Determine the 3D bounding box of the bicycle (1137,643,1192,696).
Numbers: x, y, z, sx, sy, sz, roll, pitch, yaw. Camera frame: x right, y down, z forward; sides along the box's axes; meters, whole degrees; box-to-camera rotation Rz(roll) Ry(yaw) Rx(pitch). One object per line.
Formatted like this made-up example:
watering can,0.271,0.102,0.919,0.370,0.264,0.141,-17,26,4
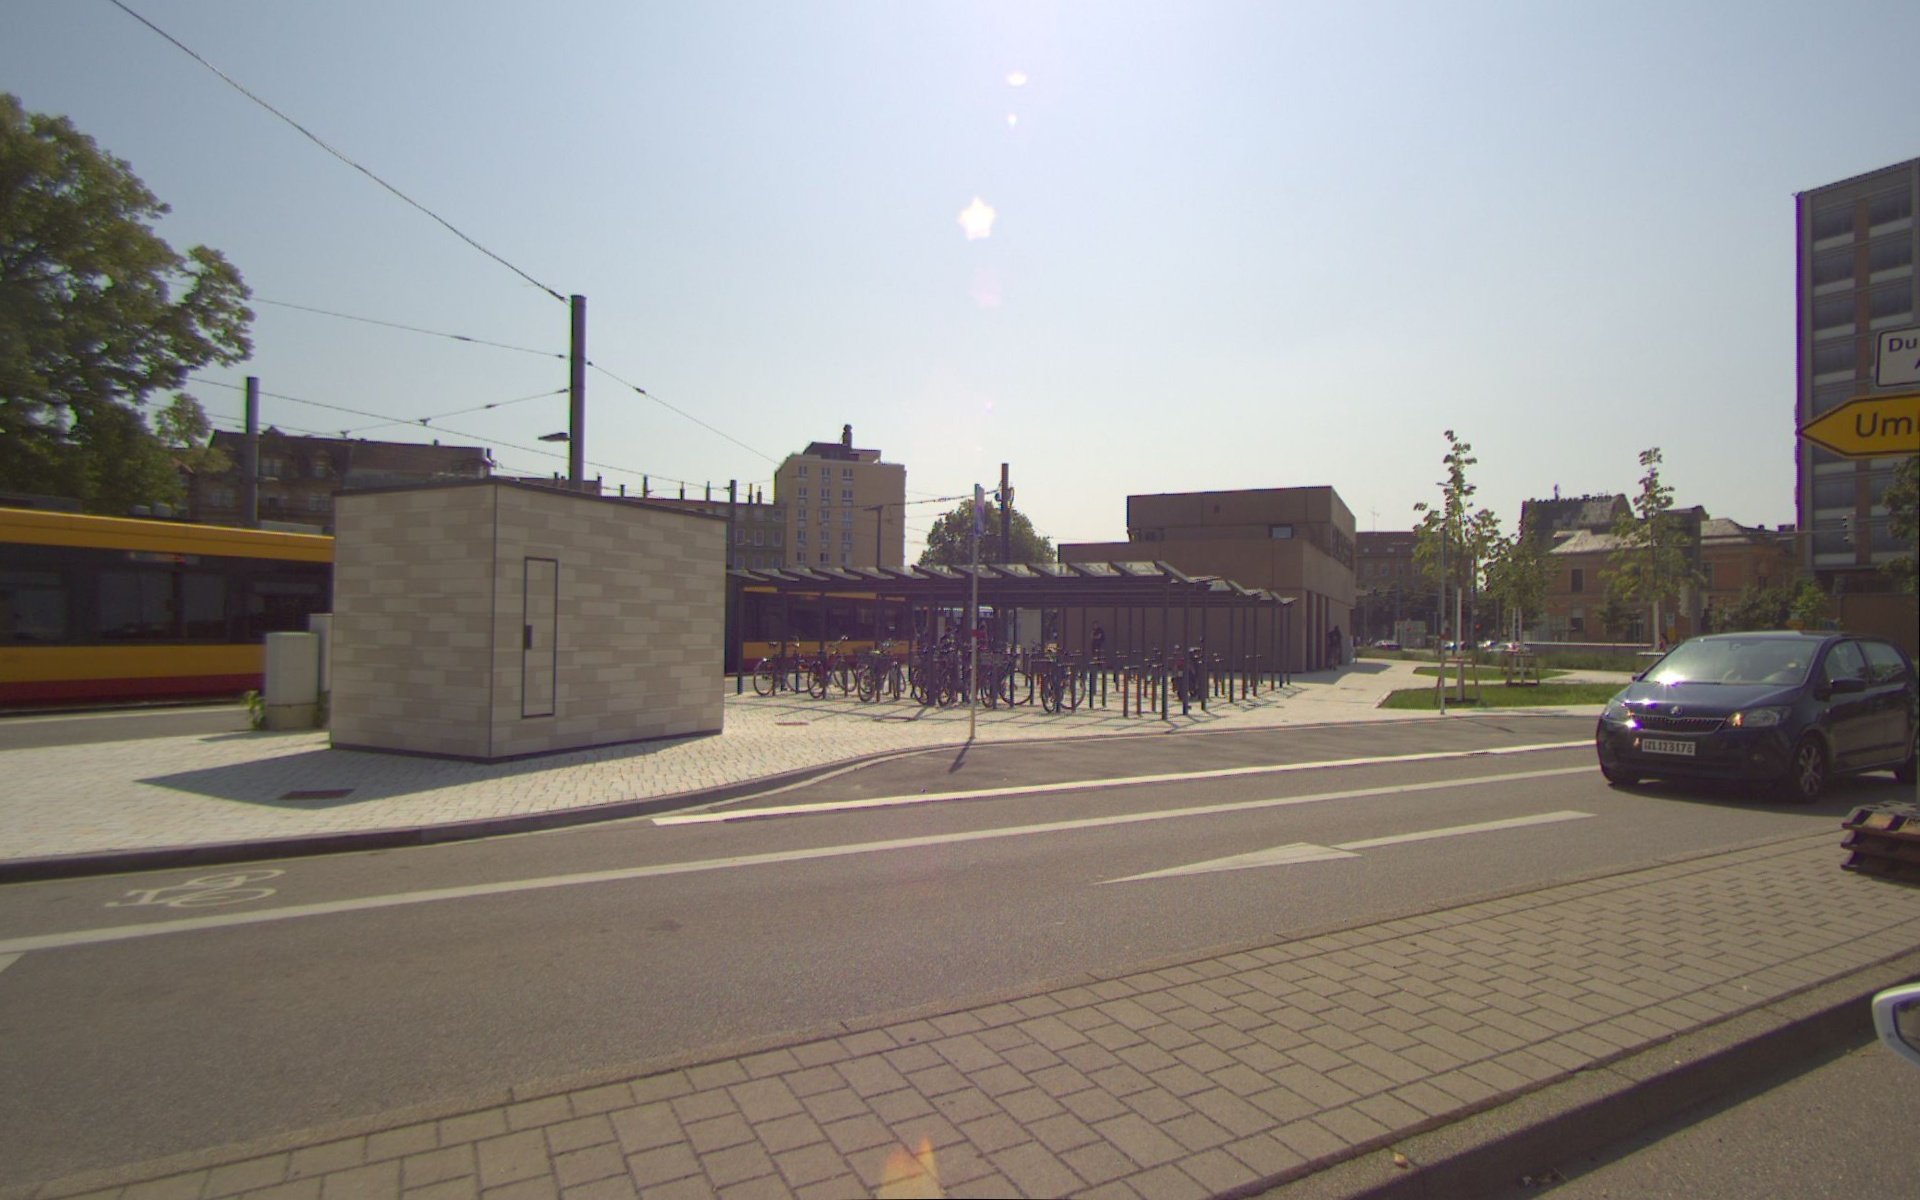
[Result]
bicycle,5.037,1.677,24.660,0.596,1.226,1.804,0,-2,37

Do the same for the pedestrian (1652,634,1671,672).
pedestrian,29.177,2.216,41.771,0.520,1.573,0.417,0,-2,16

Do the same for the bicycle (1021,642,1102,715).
bicycle,1.838,1.371,18.005,0.596,1.226,1.804,0,-2,37

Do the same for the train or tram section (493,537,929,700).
train or tram section,-6.835,0.755,34.589,2.842,4.121,19.122,1,-2,26

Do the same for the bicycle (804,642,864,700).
bicycle,-2.542,1.427,20.409,0.457,1.115,1.421,1,-1,28

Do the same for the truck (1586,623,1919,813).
truck,7.783,0.999,9.635,3.578,1.524,1.547,1,-2,-30

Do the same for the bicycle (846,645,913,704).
bicycle,-1.545,1.430,19.616,0.457,1.077,1.692,1,-1,28

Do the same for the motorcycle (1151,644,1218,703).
motorcycle,5.016,1.603,22.361,0.596,1.226,2.245,0,-2,37

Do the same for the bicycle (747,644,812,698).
bicycle,-3.703,1.453,20.735,0.457,1.046,1.546,1,-1,28

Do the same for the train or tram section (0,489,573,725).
train or tram section,-14.898,0.166,18.020,2.812,3.595,17.727,1,-2,26

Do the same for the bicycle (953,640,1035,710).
bicycle,0.658,1.364,18.749,0.596,1.226,1.804,0,-2,37

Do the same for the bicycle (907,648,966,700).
bicycle,-0.481,1.557,21.397,0.457,1.016,1.758,1,-1,28

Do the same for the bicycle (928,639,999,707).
bicycle,0.083,1.361,19.116,0.532,1.226,1.608,0,-2,34

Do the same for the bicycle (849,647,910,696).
bicycle,-1.743,1.545,21.989,0.457,1.016,1.758,1,-1,28
